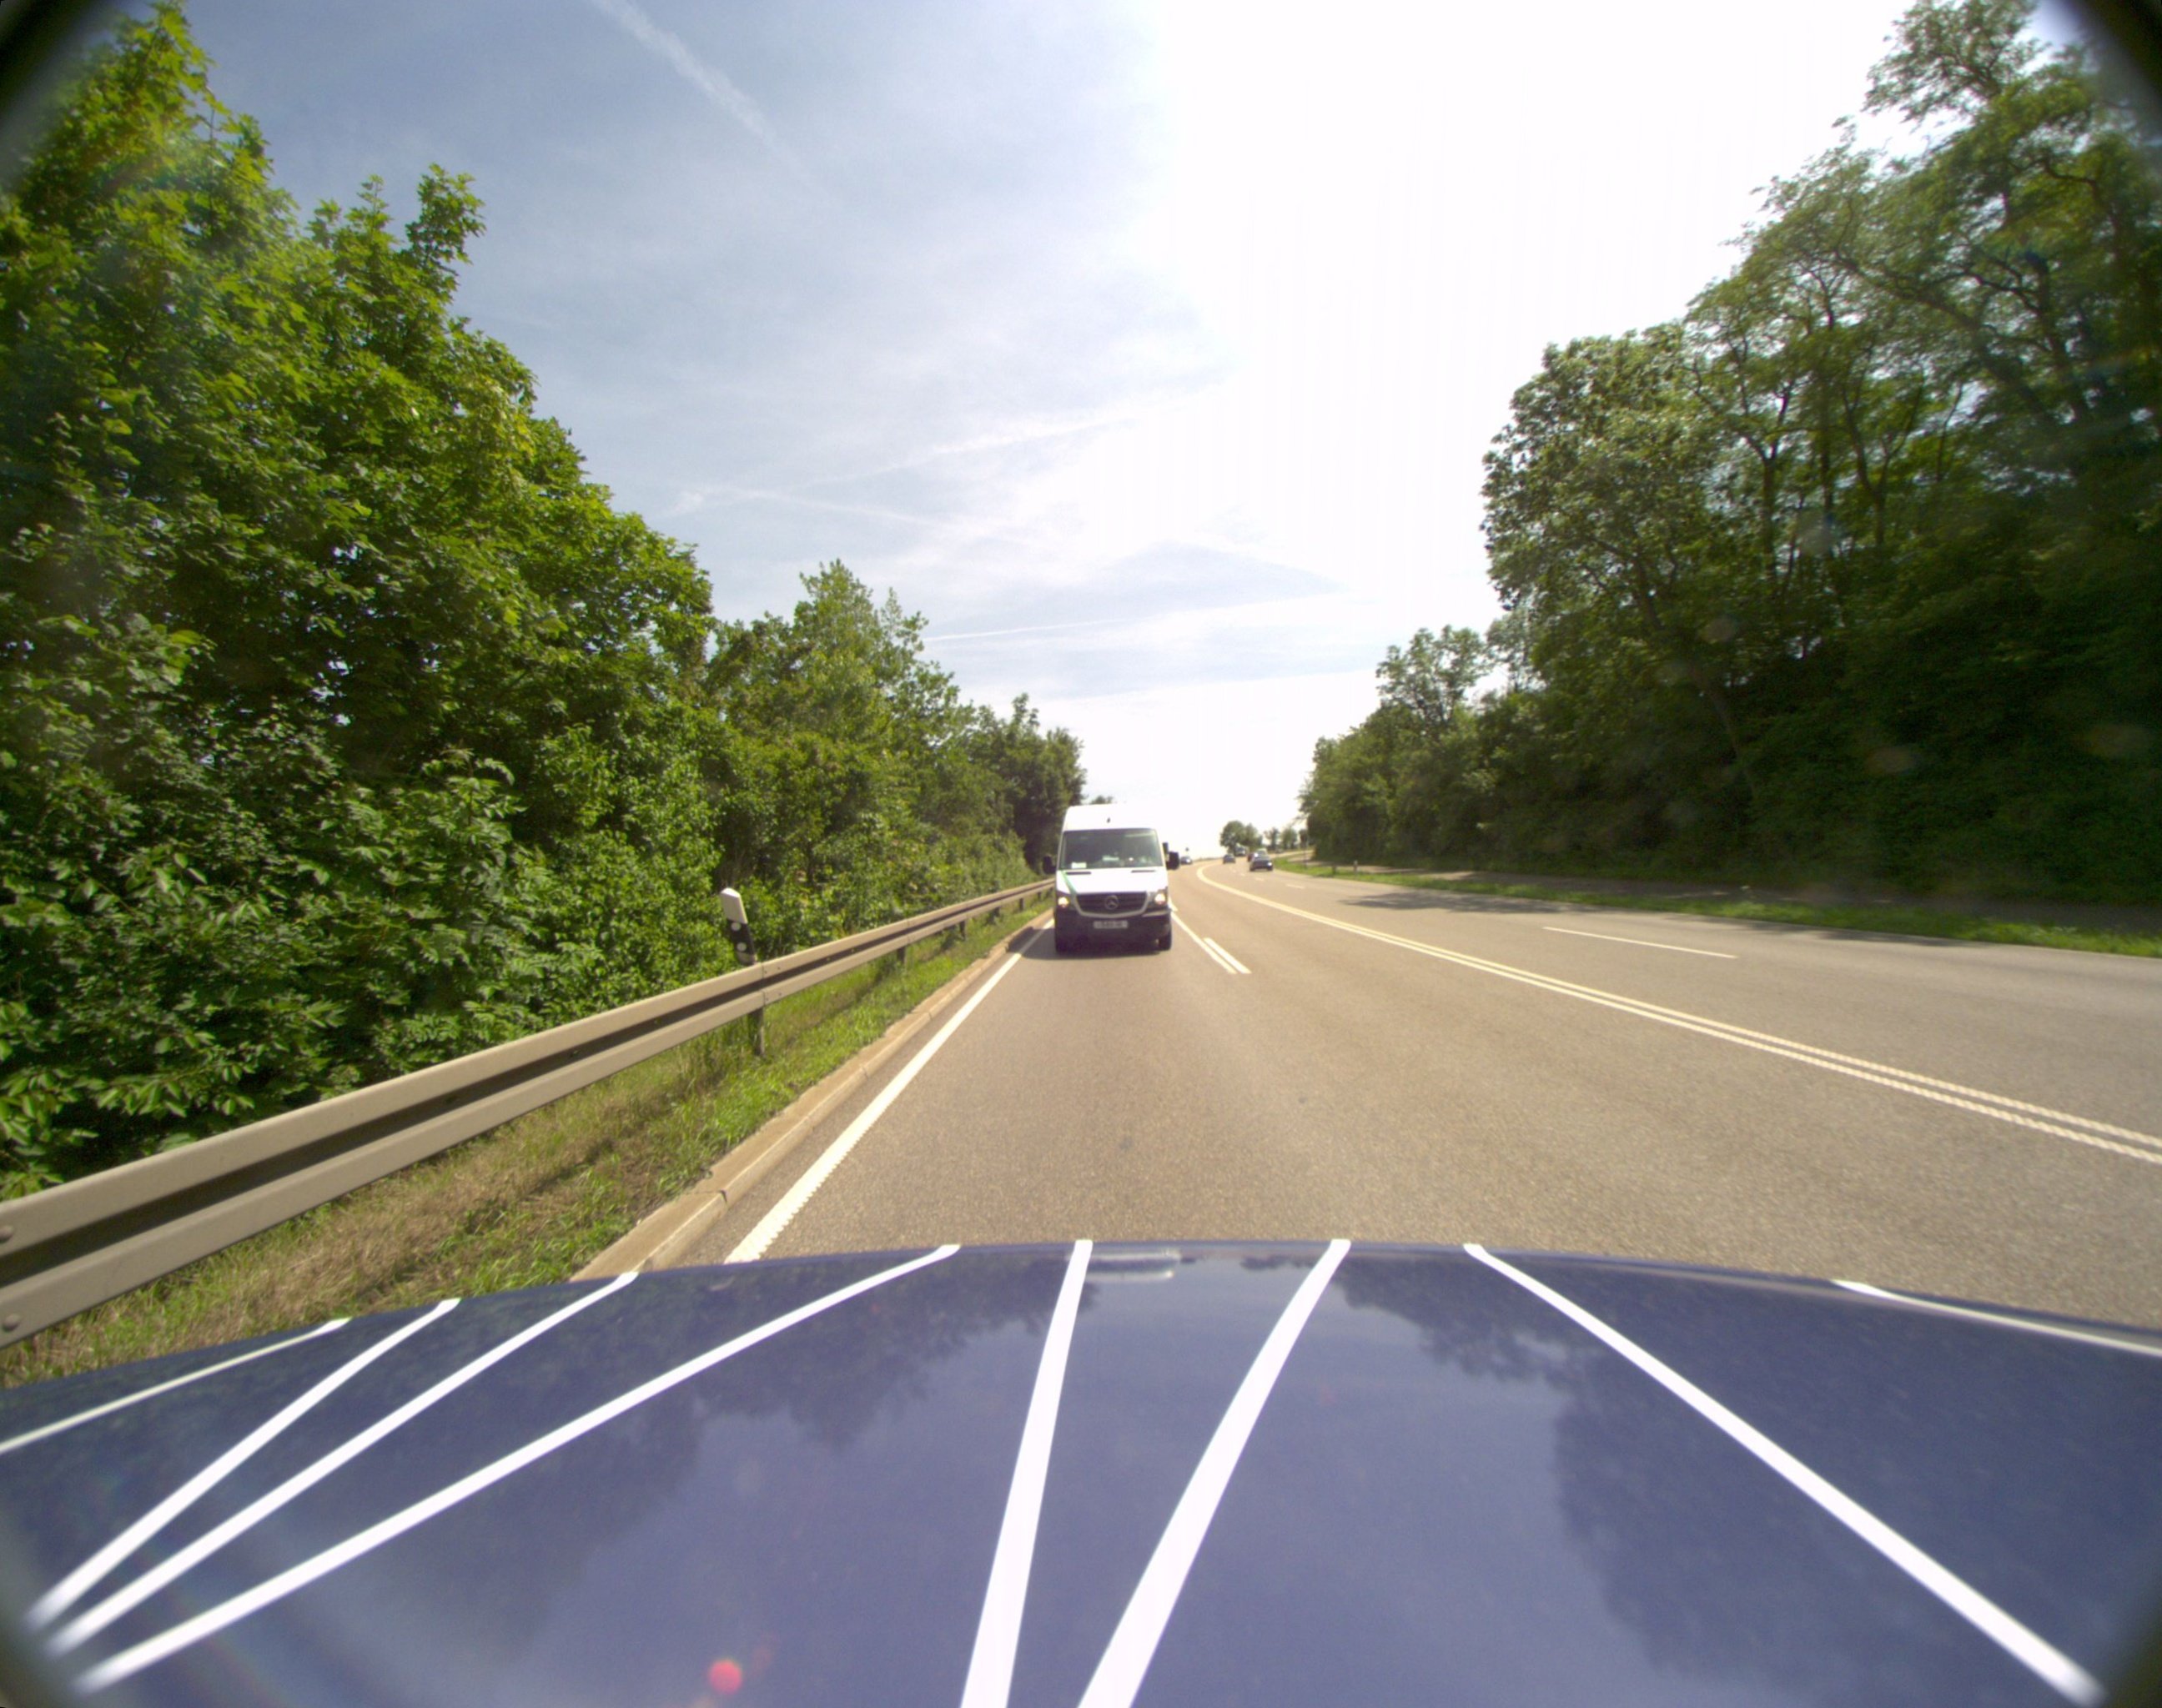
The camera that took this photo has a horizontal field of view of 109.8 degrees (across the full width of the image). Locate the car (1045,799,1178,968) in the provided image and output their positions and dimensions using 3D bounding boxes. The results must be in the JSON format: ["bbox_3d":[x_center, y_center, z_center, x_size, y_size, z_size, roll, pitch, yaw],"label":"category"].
[{"bbox_3d":[0.518,0.455,13.974,1.958,2.502,5.267,-1,0,1],"label":"car"}]

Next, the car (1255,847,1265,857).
[{"bbox_3d":[35.278,-0.391,150.051,1.815,2.002,3.874,-2,1,14],"label":"car"}]

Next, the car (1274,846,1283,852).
[{"bbox_3d":[58.652,-1.470,225.178,1.763,1.849,3.816,-2,1,27],"label":"car"}]

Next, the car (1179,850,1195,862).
[{"bbox_3d":[16.565,0.271,118.175,1.996,1.718,4.003,-2,1,14],"label":"car"}]

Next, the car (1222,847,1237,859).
[{"bbox_3d":[22.586,-0.089,115.412,1.958,1.717,3.915,-2,0,14],"label":"car"}]

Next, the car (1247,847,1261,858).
[{"bbox_3d":[28.121,-0.222,123.492,1.996,1.665,4.003,-2,1,14],"label":"car"}]

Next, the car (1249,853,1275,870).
[{"bbox_3d":[15.946,0.650,66.972,1.806,1.379,3.872,-2,0,8],"label":"car"}]

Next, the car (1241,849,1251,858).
[{"bbox_3d":[39.731,-0.061,183.197,1.996,2.002,4.005,-2,0,16],"label":"car"}]
